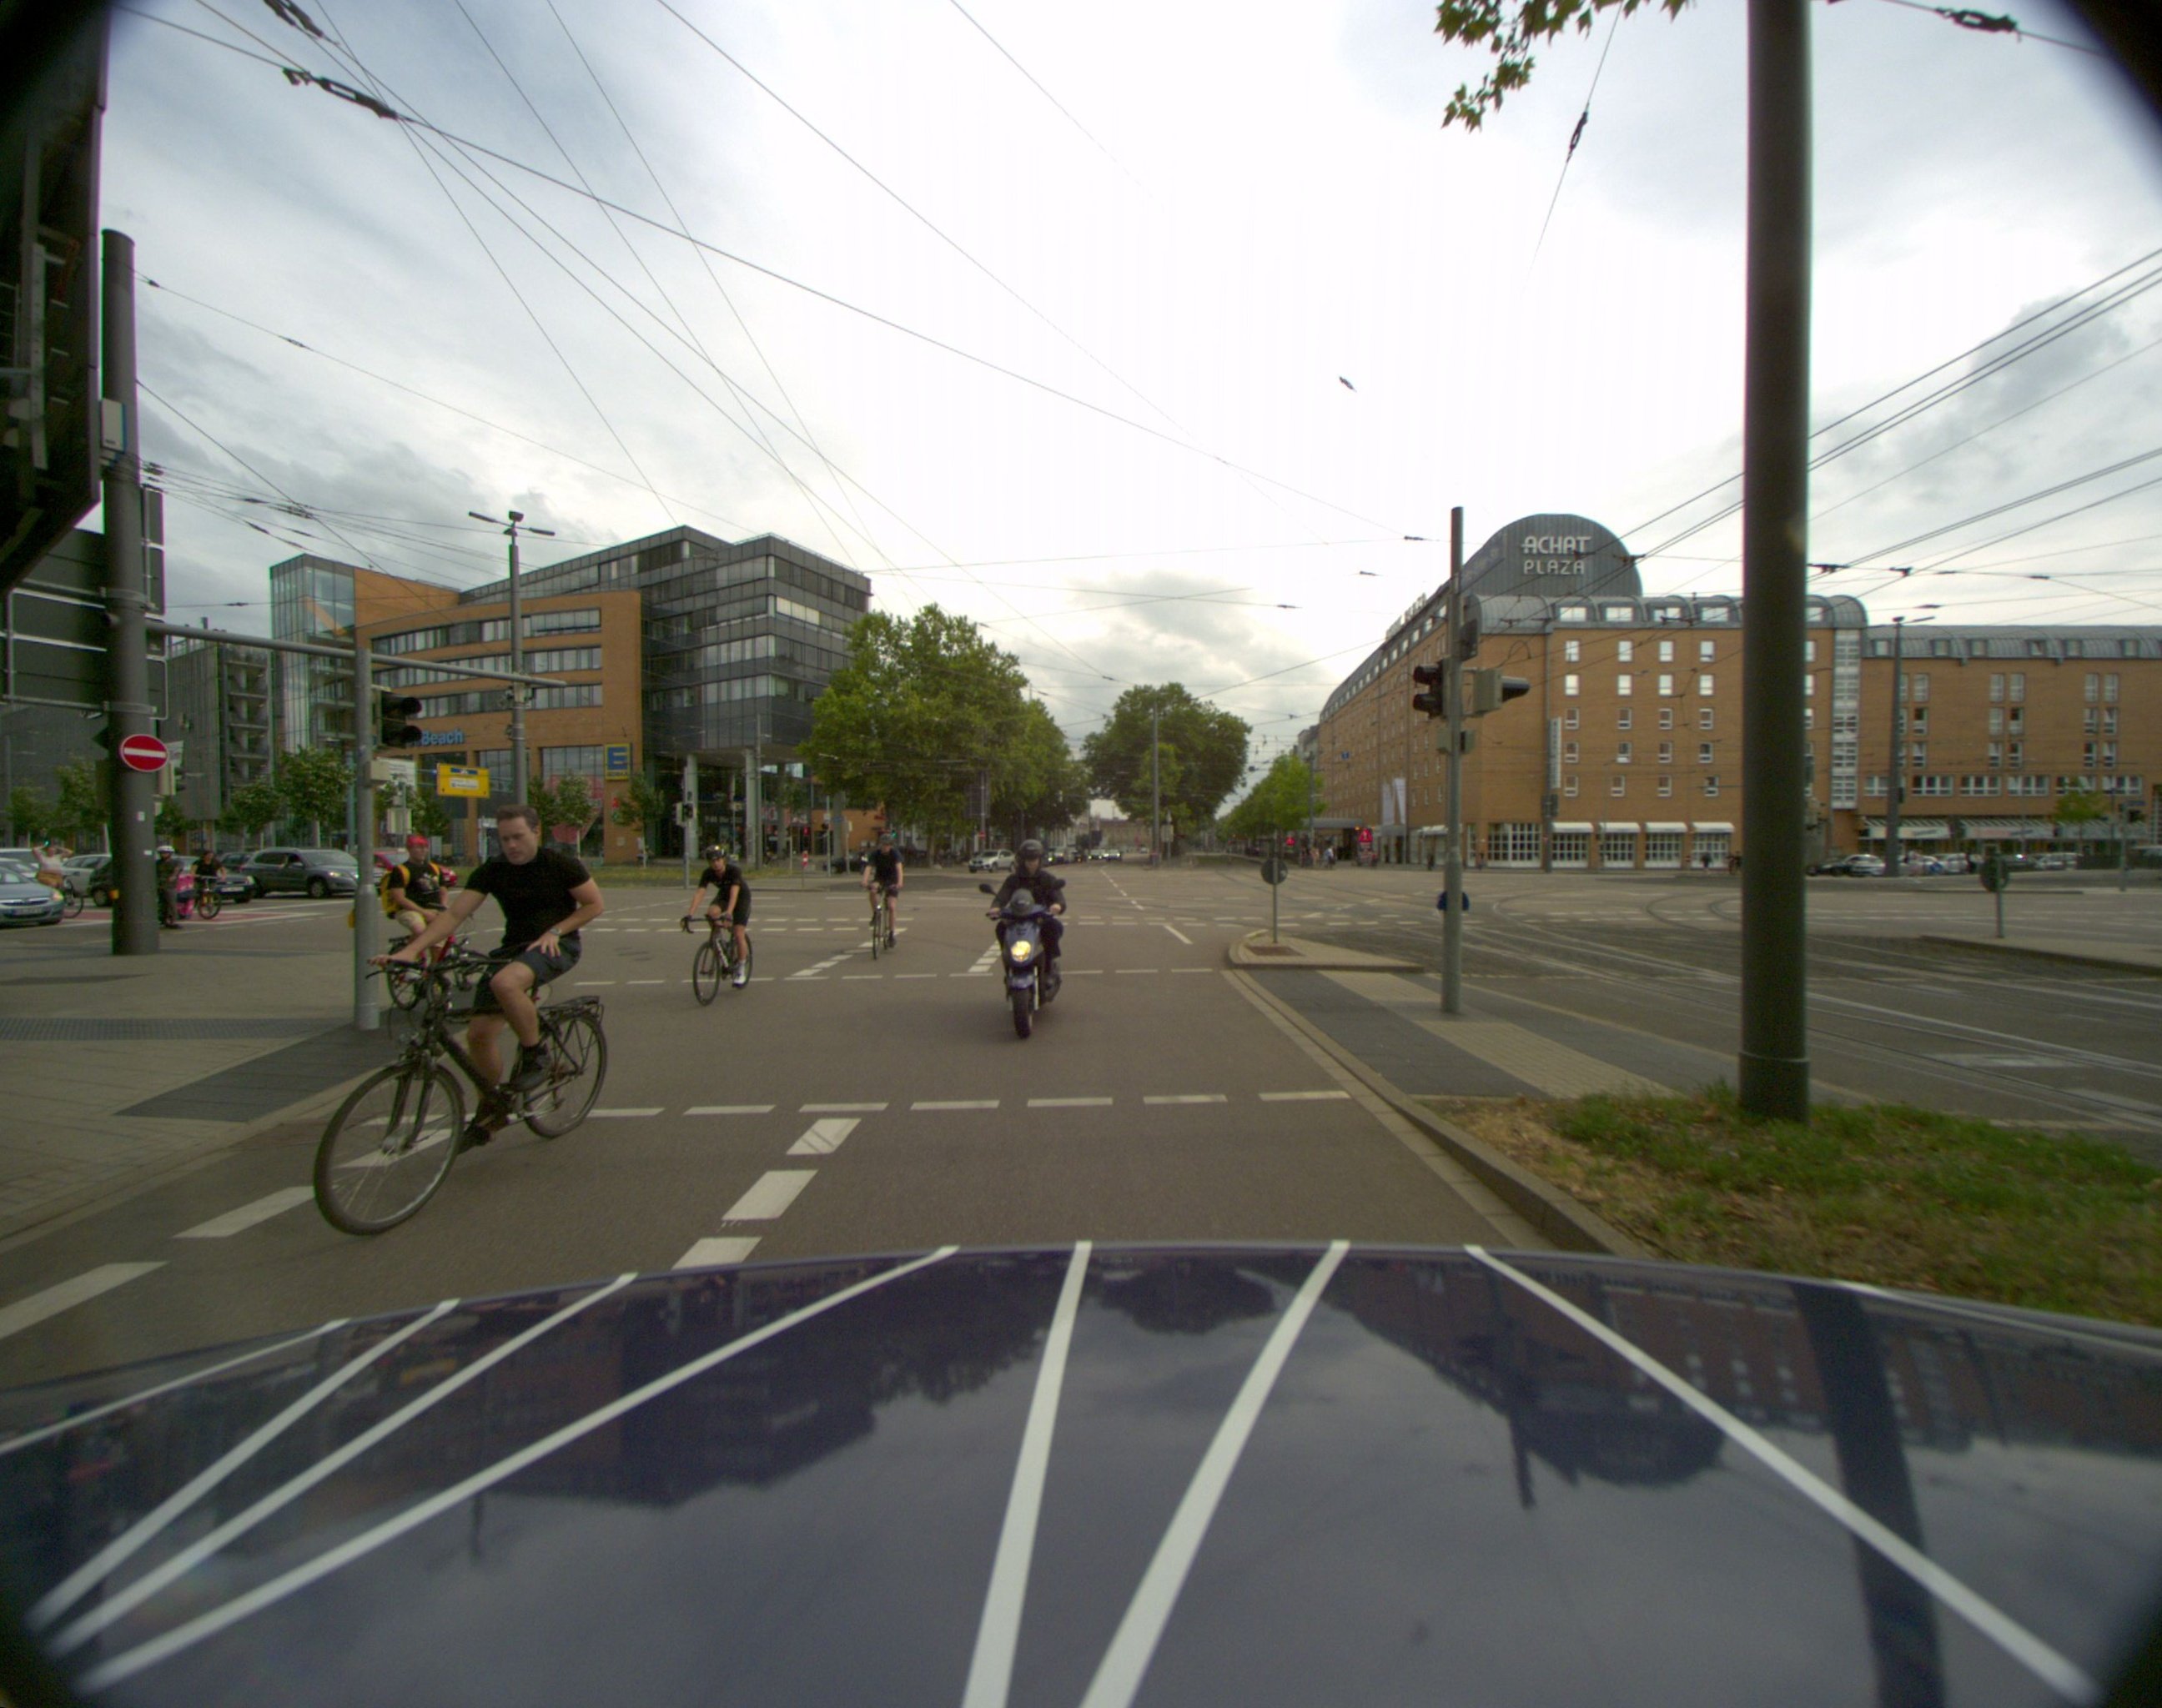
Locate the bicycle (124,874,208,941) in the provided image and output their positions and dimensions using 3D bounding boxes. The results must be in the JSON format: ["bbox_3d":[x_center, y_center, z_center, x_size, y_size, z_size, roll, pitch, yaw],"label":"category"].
[{"bbox_3d":[-19.217,1.087,16.014,0.662,1.133,2.432,-3,4,-40],"label":"bicycle"}]

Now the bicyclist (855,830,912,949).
[{"bbox_3d":[-3.051,0.523,11.806,0.591,1.760,1.035,1,1,2],"label":"bicyclist"}]

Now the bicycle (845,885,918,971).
[{"bbox_3d":[-3.051,1.096,11.797,0.595,1.132,1.858,1,1,2],"label":"bicycle"}]

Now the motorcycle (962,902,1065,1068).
[{"bbox_3d":[-0.550,1.097,7.037,0.769,1.101,2.207,0,2,0],"label":"motorcycle"}]

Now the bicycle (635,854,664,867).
[{"bbox_3d":[-34.584,0.490,60.873,2.002,1.005,0.638,0,2,9],"label":"bicycle"}]

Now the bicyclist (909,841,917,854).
[{"bbox_3d":[-17.804,-0.686,80.637,0.531,1.425,0.739,1,2,12],"label":"bicyclist"}]

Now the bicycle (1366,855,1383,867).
[{"bbox_3d":[25.554,0.609,66.144,0.659,0.931,1.892,0,2,-3],"label":"bicycle"}]

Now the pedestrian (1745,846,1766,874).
[{"bbox_3d":[42.426,0.369,47.796,0.578,1.722,0.750,0,2,-5],"label":"pedestrian"}]

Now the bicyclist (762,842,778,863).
[{"bbox_3d":[-24.515,-0.105,59.960,0.977,1.607,0.638,1,1,9],"label":"bicyclist"}]

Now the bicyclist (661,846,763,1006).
[{"bbox_3d":[-4.022,0.744,8.364,0.591,1.644,1.035,1,1,2],"label":"bicyclist"}]

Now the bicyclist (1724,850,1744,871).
[{"bbox_3d":[46.660,0.449,54.327,0.865,1.492,0.636,0,1,-1],"label":"bicyclist"}]

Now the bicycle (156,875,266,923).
[{"bbox_3d":[-21.084,1.081,18.419,2.202,1.051,0.683,0,4,11],"label":"bicycle"}]

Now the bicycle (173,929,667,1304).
[{"bbox_3d":[-2.980,1.064,3.818,0.595,1.132,2.091,1,1,2],"label":"bicycle"}]

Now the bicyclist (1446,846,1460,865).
[{"bbox_3d":[29.658,0.147,60.567,0.863,1.493,0.637,1,2,20],"label":"bicyclist"}]

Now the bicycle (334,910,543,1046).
[{"bbox_3d":[-6.463,1.190,7.649,1.900,1.132,0.727,1,1,19],"label":"bicycle"}]

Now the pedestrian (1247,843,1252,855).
[{"bbox_3d":[24.948,-0.752,112.313,0.648,1.696,0.624,0,1,6],"label":"pedestrian"}]

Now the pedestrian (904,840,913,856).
[{"bbox_3d":[-19.031,-0.702,84.020,0.586,1.722,0.745,2,3,45],"label":"pedestrian"}]

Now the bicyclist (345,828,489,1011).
[{"bbox_3d":[-6.746,0.620,7.742,0.914,1.754,0.720,1,1,19],"label":"bicyclist"}]

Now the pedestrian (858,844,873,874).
[{"bbox_3d":[-12.785,0.298,45.064,0.678,1.781,0.669,0,2,4],"label":"pedestrian"}]

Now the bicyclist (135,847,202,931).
[{"bbox_3d":[-19.305,0.717,16.097,0.662,1.666,1.031,-3,5,-41],"label":"bicyclist"}]

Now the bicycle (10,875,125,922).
[{"bbox_3d":[-24.924,1.075,18.696,2.218,1.051,0.750,0,4,11],"label":"bicycle"}]

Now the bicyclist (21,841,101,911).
[{"bbox_3d":[-25.057,0.516,18.674,0.979,1.657,0.745,0,4,12],"label":"bicyclist"}]

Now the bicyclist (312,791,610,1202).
[{"bbox_3d":[-2.969,0.604,3.766,0.591,1.758,1.035,1,1,2],"label":"bicyclist"}]

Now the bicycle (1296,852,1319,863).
[{"bbox_3d":[18.680,0.320,62.593,1.710,0.884,0.499,0,2,4],"label":"bicycle"}]

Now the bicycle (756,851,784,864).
[{"bbox_3d":[-24.518,0.296,59.980,2.002,1.005,0.638,1,1,9],"label":"bicycle"}]

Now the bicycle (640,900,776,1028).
[{"bbox_3d":[-4.028,1.140,8.368,0.595,1.132,1.734,1,1,2],"label":"bicycle"}]

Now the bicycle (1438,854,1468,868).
[{"bbox_3d":[29.633,0.559,60.595,2.055,1.002,0.641,1,2,20],"label":"bicycle"}]

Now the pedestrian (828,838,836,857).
[{"bbox_3d":[-23.616,-0.610,71.977,0.545,1.856,0.515,1,2,29],"label":"pedestrian"}]

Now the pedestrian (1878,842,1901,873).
[{"bbox_3d":[45.386,0.173,42.668,0.632,1.722,0.578,0,2,-9],"label":"pedestrian"}]

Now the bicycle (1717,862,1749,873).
[{"bbox_3d":[46.625,0.963,54.344,1.796,0.777,0.640,0,1,-1],"label":"bicycle"}]

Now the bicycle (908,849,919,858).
[{"bbox_3d":[-17.812,-0.079,80.625,0.535,0.912,1.542,1,2,12],"label":"bicycle"}]

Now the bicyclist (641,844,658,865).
[{"bbox_3d":[-34.576,0.051,60.870,0.977,1.607,0.638,1,2,9],"label":"bicyclist"}]

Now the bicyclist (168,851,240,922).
[{"bbox_3d":[-21.267,0.766,18.435,0.979,1.657,0.675,0,4,12],"label":"bicyclist"}]

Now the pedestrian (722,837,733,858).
[{"bbox_3d":[-31.033,-0.549,66.706,0.627,1.856,0.671,-1,2,-43],"label":"pedestrian"}]

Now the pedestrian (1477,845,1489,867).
[{"bbox_3d":[31.830,0.170,60.194,0.749,1.722,0.579,1,1,24],"label":"pedestrian"}]

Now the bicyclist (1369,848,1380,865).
[{"bbox_3d":[25.560,0.208,66.158,0.651,1.493,0.817,0,2,-3],"label":"bicyclist"}]
